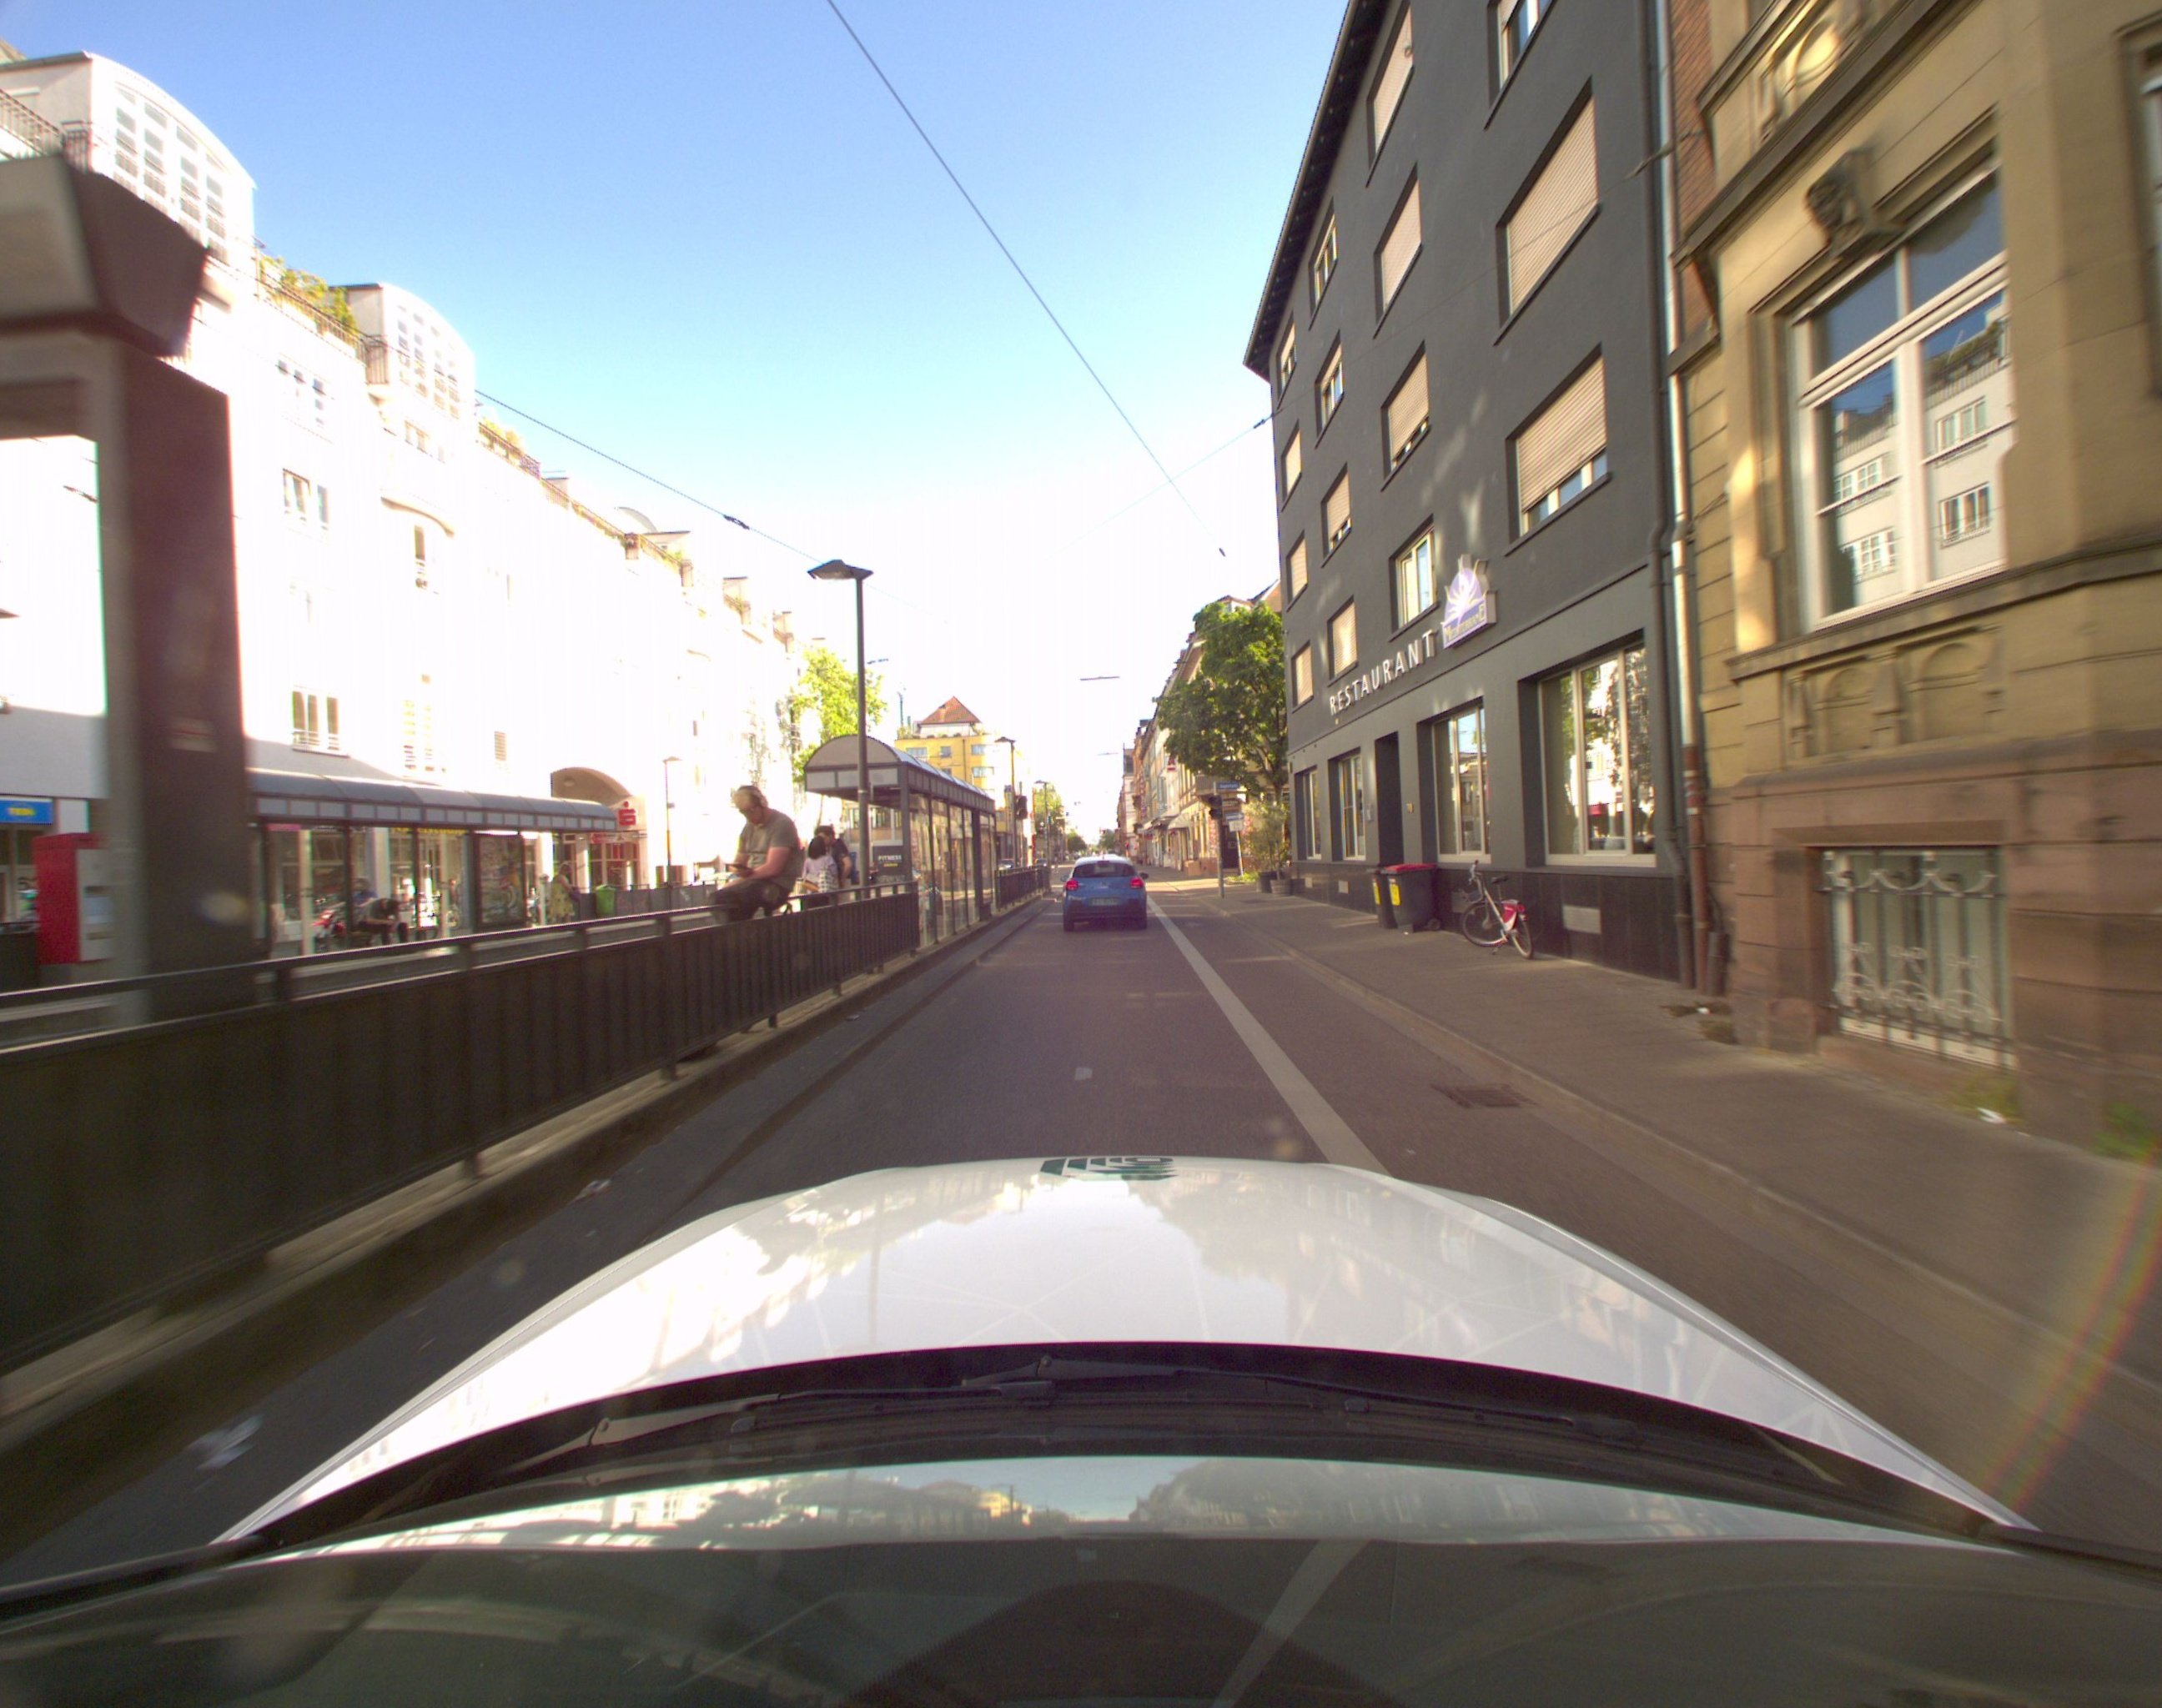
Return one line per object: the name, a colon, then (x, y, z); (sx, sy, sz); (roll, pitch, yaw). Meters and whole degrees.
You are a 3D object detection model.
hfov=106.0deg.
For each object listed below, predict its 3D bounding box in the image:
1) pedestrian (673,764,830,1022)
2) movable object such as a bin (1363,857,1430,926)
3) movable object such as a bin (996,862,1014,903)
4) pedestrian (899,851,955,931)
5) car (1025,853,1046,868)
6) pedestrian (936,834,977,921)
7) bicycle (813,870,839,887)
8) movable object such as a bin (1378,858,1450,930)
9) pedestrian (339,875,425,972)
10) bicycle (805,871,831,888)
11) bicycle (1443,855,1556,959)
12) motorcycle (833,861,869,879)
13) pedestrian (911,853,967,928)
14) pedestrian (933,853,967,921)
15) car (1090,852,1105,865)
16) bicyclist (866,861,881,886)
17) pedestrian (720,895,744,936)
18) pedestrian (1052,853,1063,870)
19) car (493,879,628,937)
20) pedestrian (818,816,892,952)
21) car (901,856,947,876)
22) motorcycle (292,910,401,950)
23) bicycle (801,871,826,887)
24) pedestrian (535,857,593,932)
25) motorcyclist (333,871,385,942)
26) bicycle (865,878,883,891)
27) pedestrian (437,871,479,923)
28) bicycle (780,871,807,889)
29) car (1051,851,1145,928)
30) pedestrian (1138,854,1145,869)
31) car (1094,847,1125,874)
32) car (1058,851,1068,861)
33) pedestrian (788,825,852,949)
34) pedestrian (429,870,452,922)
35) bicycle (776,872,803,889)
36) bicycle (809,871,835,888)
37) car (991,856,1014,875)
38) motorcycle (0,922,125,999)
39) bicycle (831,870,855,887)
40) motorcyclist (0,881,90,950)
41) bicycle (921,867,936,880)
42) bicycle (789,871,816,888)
pedestrian: (-2.336, 0.268, 5.869); (0.633, 1.698, 0.935); (-1, -1, 9)
movable object such as a bin: (5.283, 0.612, 13.670); (0.745, 1.036, 0.754); (-6, 0, 2)
movable object such as a bin: (-1.904, 0.716, 20.485); (0.345, 1.007, 0.405); (-3, 0, 3)
pedestrian: (-2.555, 0.603, 13.541); (0.708, 1.272, 0.657); (-3, 0, 4)
car: (-5.271, 0.728, 95.023); (1.943, 1.486, 4.003); (-4, 0, 3)
pedestrian: (-2.605, 0.476, 16.956); (0.566, 1.750, 0.713); (-3, 0, -27)
bicycle: (-15.515, 1.504, 49.593); (0.387, 0.941, 1.505); (-3, 0, 37)
movable object such as a bin: (5.258, 0.620, 12.902); (0.745, 1.036, 0.754); (-6, 0, 2)
pedestrian: (-11.716, 1.139, 13.670); (0.729, 1.527, 0.743); (-2, 1, 0)
bicycle: (-16.182, 1.574, 50.107); (0.387, 0.941, 1.505); (-3, 0, 37)
bicycle: (5.050, 0.593, 9.953); (0.457, 1.123, 1.774); (-4, 0, 2)
motorcycle: (-17.867, 1.224, 63.242); (2.506, 1.288, 0.668); (-2, 0, -2)
pedestrian: (-2.535, 0.638, 14.594); (0.761, 1.272, 0.720); (-3, 0, 4)
pedestrian: (-3.075, 0.762, 19.099); (0.619, 1.558, 0.568); (-3, 0, 2)
car: (2.339, 0.607, 115.737); (1.986, 1.743, 4.001); (-1, -1, 2)
bicyclist: (-13.279, 1.230, 52.076); (0.669, 1.557, 0.778); (-2, 0, 2)
pedestrian: (-14.193, 2.501, 33.122); (0.578, 1.559, 0.684); (-2, 1, 0)
pedestrian: (-2.298, 0.752, 80.727); (0.842, 1.654, 0.691); (-2, 0, -27)
car: (-16.035, 1.615, 25.309); (1.684, 1.421, 3.648); (-2, 1, 2)
pedestrian: (-3.079, 0.397, 11.083); (0.710, 1.777, 0.569); (-3, 0, 37)
car: (-14.881, 1.117, 77.475); (3.977, 1.674, 1.956); (-2, 0, -2)
motorcycle: (-15.961, 1.634, 17.773); (0.491, 0.720, 2.007); (-1, -1, 3)
bicycle: (-16.521, 1.537, 50.358); (0.387, 0.941, 1.505); (-3, 0, 37)
pedestrian: (-11.294, 0.865, 17.813); (0.729, 1.559, 0.743); (-2, 1, 0)
motorcyclist: (-15.880, 1.138, 17.927); (0.485, 1.502, 0.722); (-1, -1, 2)
bicycle: (-13.245, 1.955, 52.112); (0.564, 0.757, 1.939); (-2, 0, 3)
pedestrian: (-20.287, 1.376, 26.531); (0.593, 1.621, 0.845); (-3, 0, 2)
bicycle: (-17.256, 1.564, 48.926); (0.387, 0.941, 1.505); (-3, 0, 37)
car: (0.394, 0.668, 17.486); (1.774, 1.451, 3.656); (-1, 0, 2)
pedestrian: (7.064, 0.887, 95.367); (0.690, 1.651, 0.680); (-2, 0, 1)
car: (1.942, 0.459, 54.897); (1.986, 1.743, 4.001); (-1, -1, 2)
car: (-3.777, 0.343, 171.670); (1.987, 2.014, 4.000); (-1, -1, 0)
pedestrian: (-3.407, 0.424, 10.645); (0.579, 1.562, 0.473); (-3, 0, 37)
pedestrian: (-20.886, 1.362, 26.557); (0.359, 1.664, 0.492); (-1, -1, 2)
bicycle: (-17.615, 1.582, 49.201); (0.387, 0.941, 1.505); (-3, 0, 37)
bicycle: (-15.857, 1.542, 49.853); (0.387, 0.941, 1.505); (-3, 0, 37)
car: (-7.647, 1.083, 79.745); (1.747, 1.615, 4.826); (-4, 0, -1)
motorcycle: (-17.057, 1.725, 13.331); (0.556, 1.074, 1.846); (-1, -1, 3)
bicycle: (-14.938, 1.521, 51.106); (0.387, 0.941, 1.505); (-3, 0, 37)
motorcyclist: (-17.058, 1.001, 13.364); (0.556, 1.074, 0.828); (-1, -1, 2)
bicycle: (-13.186, 1.643, 70.496); (0.677, 1.002, 2.688); (-2, 0, 3)
bicycle: (-16.508, 1.525, 48.357); (0.387, 0.941, 1.505); (-3, 0, 37)
